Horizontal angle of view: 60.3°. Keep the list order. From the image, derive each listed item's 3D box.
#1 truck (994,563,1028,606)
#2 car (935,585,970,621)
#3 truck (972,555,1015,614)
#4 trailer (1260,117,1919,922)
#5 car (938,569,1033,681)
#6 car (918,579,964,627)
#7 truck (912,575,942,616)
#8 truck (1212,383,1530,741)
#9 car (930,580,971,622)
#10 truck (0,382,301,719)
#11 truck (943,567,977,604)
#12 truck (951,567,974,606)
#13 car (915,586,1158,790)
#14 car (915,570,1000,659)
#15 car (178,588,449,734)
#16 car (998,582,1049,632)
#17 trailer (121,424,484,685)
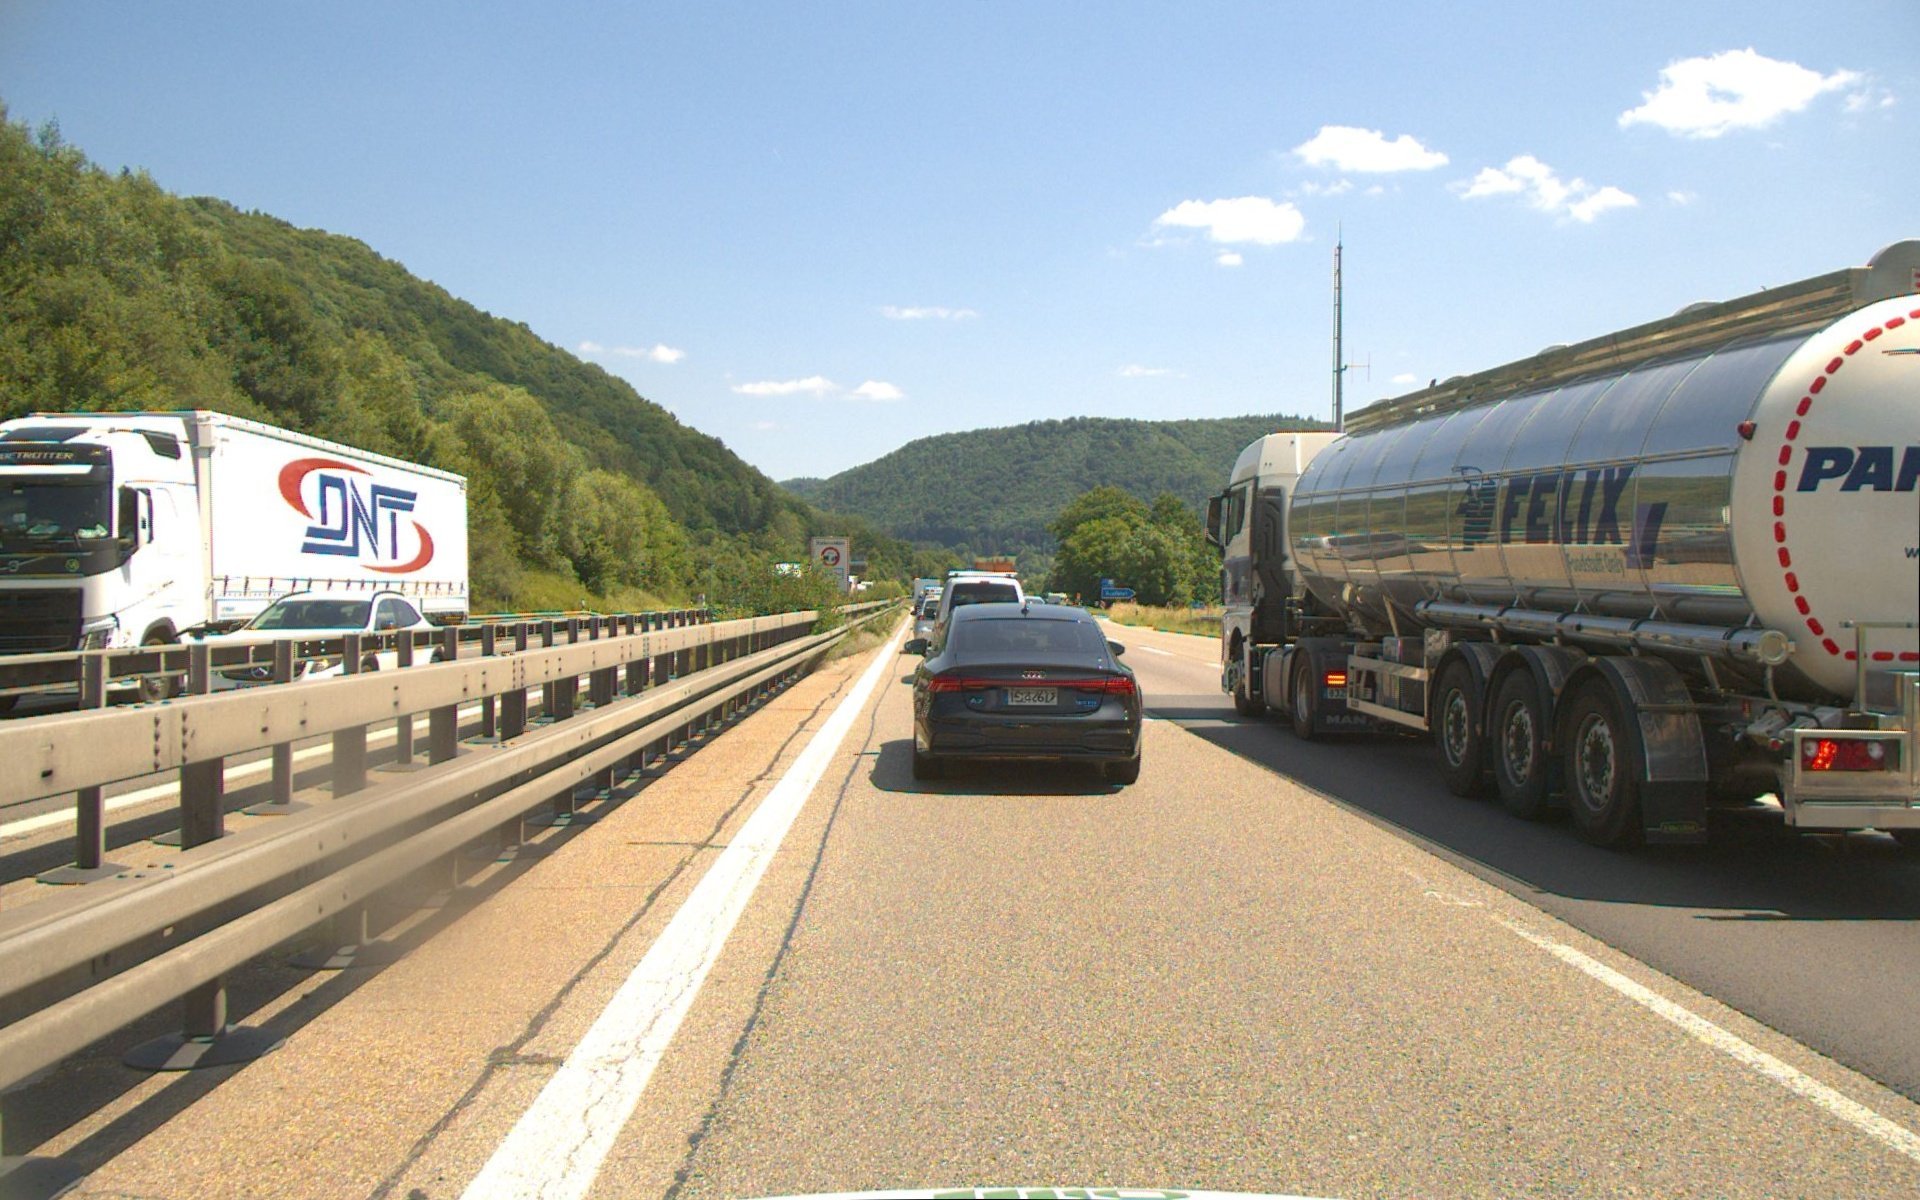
[{"bbox_3d":[5.014,-1.498,165.496,2.760,4.073,14.953,1,0,0],"label":"truck"},{"bbox_3d":[-0.352,0.123,79.518,1.677,1.646,4.000,0,0,0],"label":"car"},{"bbox_3d":[2.373,-1.107,122.502,2.760,4.073,14.953,1,0,0],"label":"truck"},{"bbox_3d":[5.011,-0.393,13.804,2.487,3.801,11.887,1,0,-2],"label":"trailer"},{"bbox_3d":[0.403,0.415,29.690,1.544,1.865,3.999,1,0,-1],"label":"car"},{"bbox_3d":[-0.870,0.112,72.369,1.953,2.049,3.999,0,0,-2],"label":"car"},{"bbox_3d":[-2.904,-0.439,147.443,2.575,3.501,11.419,0,0,-1],"label":"truck"},{"bbox_3d":[4.825,-0.419,20.420,2.461,3.824,5.244,1,0,-2],"label":"truck"},{"bbox_3d":[-0.485,0.057,83.046,1.953,2.049,3.999,0,0,-2],"label":"car"},{"bbox_3d":[-11.932,-0.634,23.482,2.850,4.173,5.846,1,0,-1],"label":"truck"},{"bbox_3d":[0.096,-1.860,210.767,3.714,4.491,14.960,0,0,2],"label":"truck"},{"bbox_3d":[0.174,-1.269,155.397,1.953,3.507,11.808,1,0,-1],"label":"truck"},{"bbox_3d":[0.527,0.657,14.444,1.812,1.514,4.082,1,0,-2],"label":"car"},{"bbox_3d":[-0.105,0.325,40.399,1.953,2.049,3.999,1,0,-1],"label":"car"},{"bbox_3d":[-7.534,0.648,19.696,1.711,1.545,3.999,1,0,-1],"label":"car"},{"bbox_3d":[2.652,0.278,69.901,1.953,2.049,3.999,0,0,-1],"label":"car"},{"bbox_3d":[-12.141,-0.750,32.106,2.798,4.147,11.259,1,0,-2],"label":"trailer"}]
